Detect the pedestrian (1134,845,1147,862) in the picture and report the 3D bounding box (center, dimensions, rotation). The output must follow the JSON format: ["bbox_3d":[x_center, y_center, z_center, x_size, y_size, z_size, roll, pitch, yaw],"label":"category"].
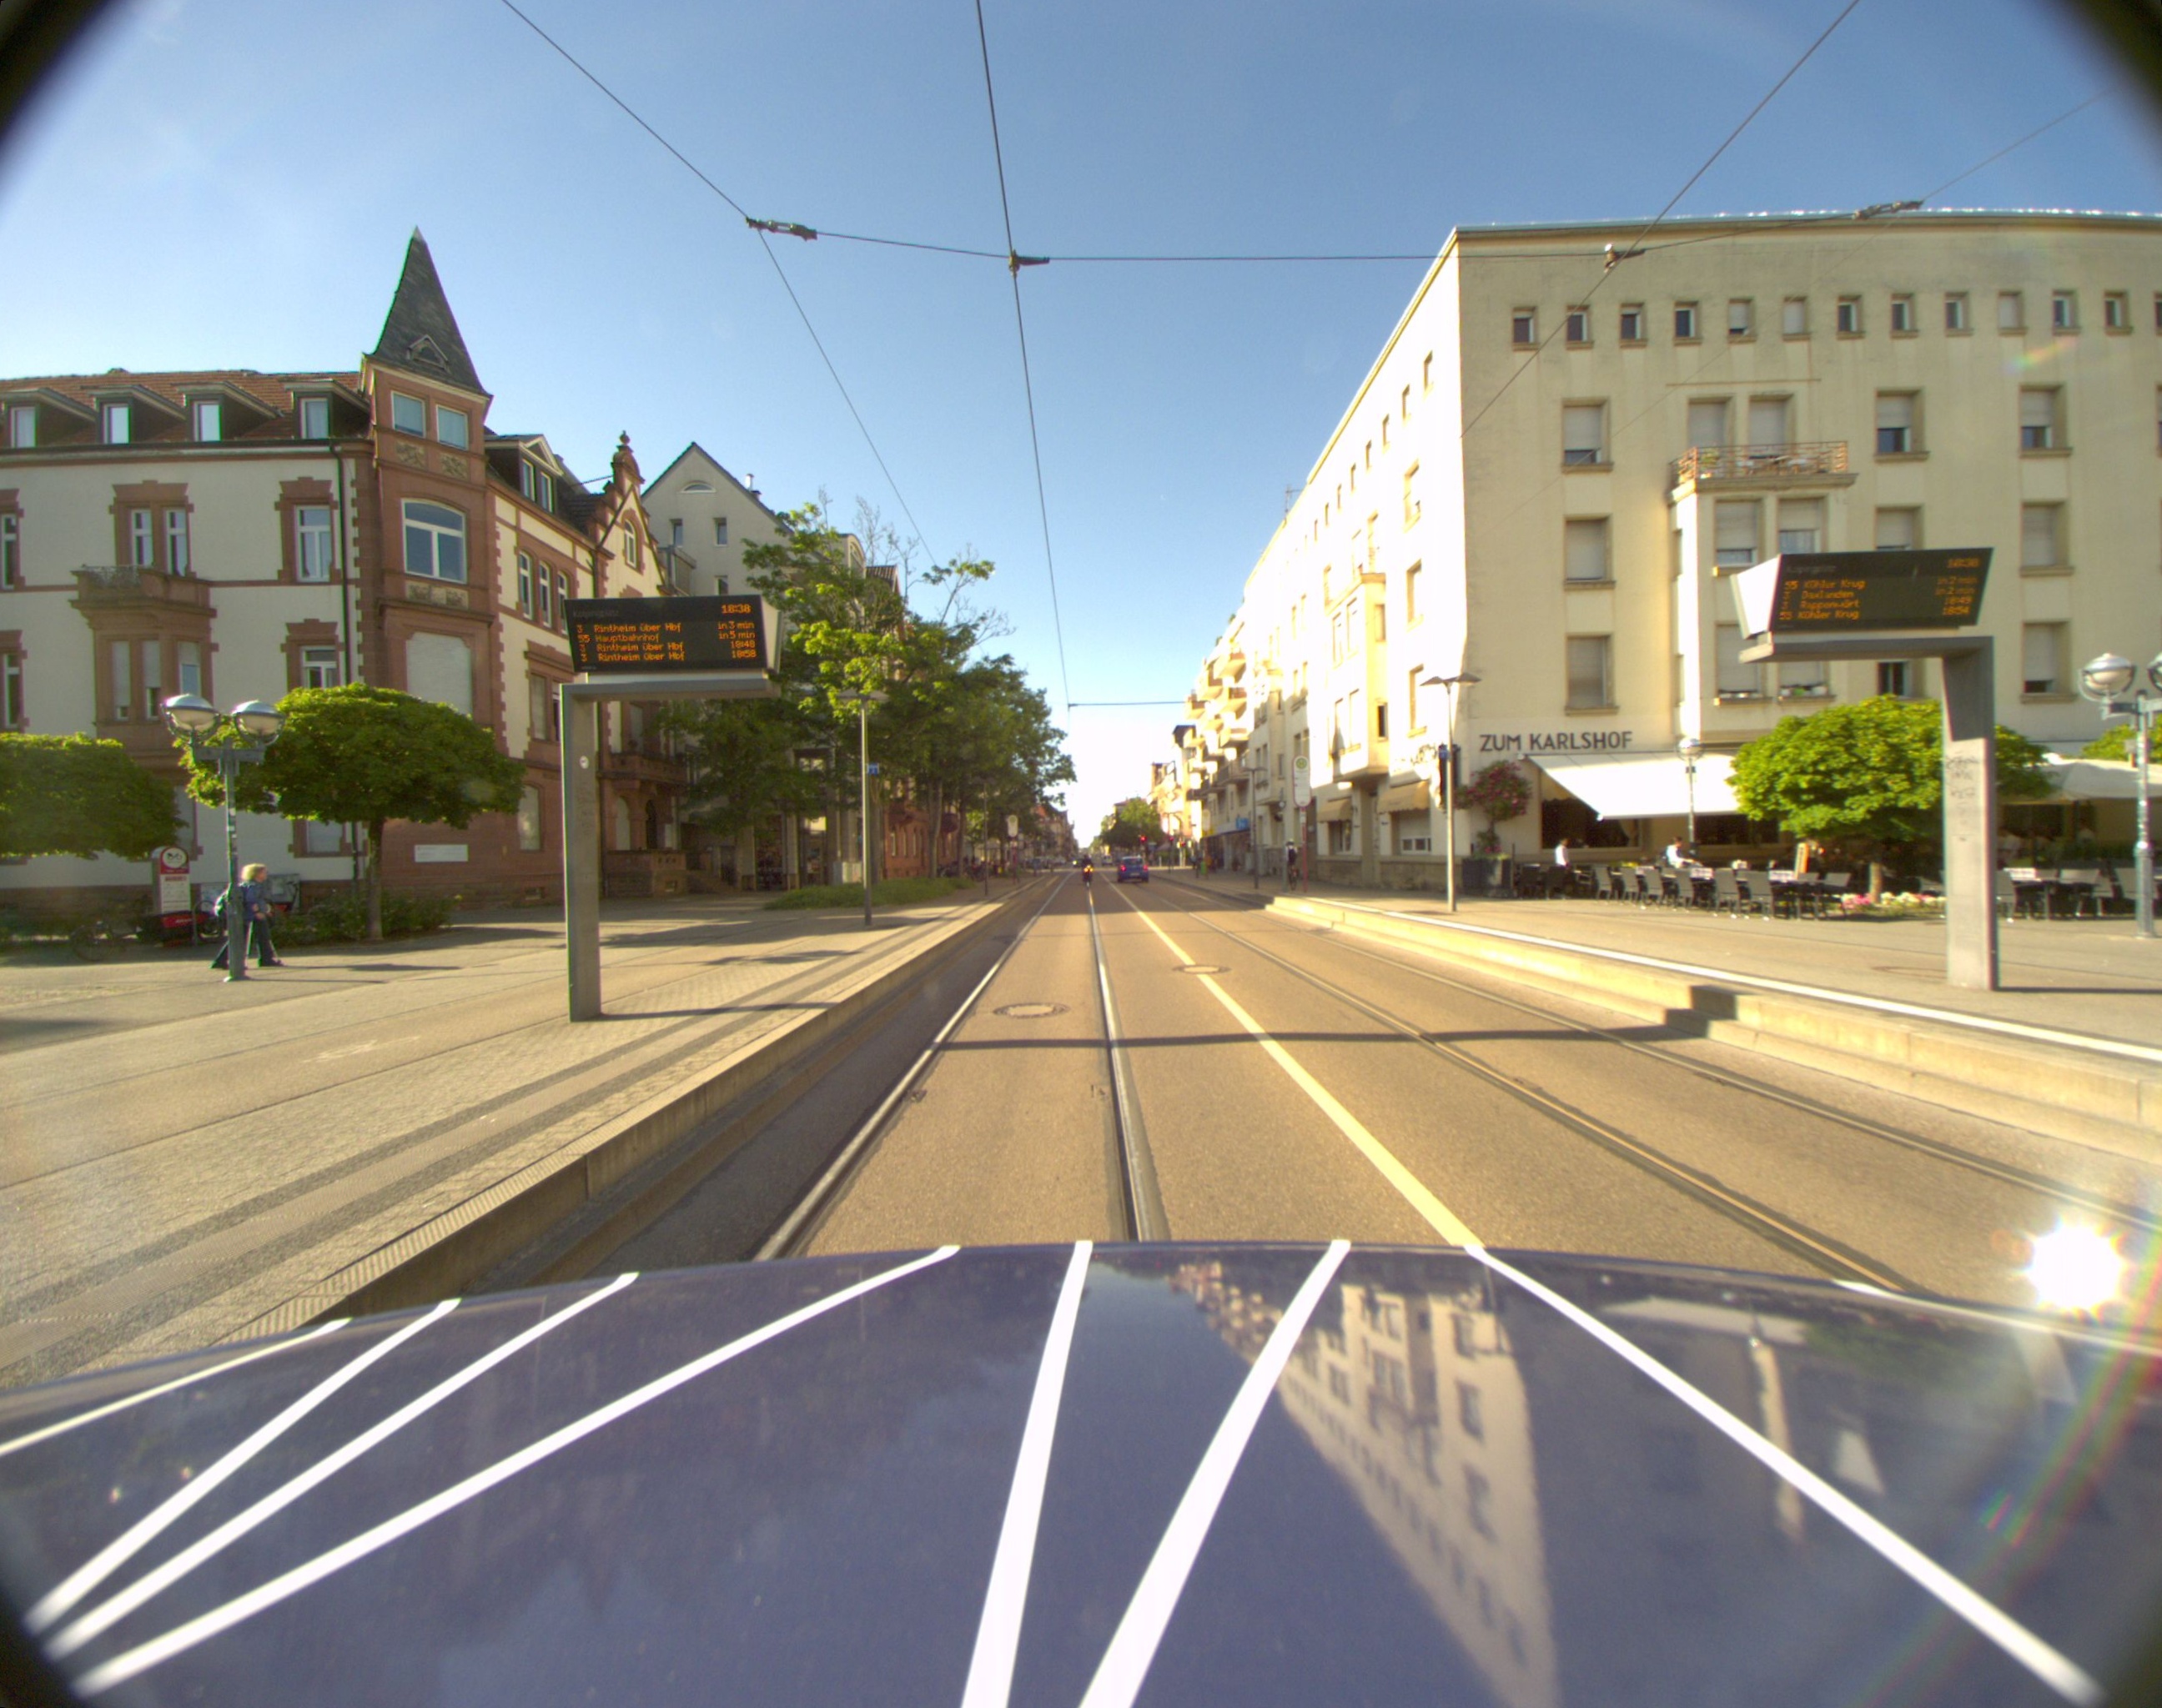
[{"bbox_3d":[7.394,-0.053,93.943,1.174,2.002,1.024,-1,1,42],"label":"pedestrian"}]

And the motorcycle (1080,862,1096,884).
[{"bbox_3d":[0.388,1.037,41.922,0.799,1.090,2.429,-1,0,1],"label":"motorcycle"}]

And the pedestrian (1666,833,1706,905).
[{"bbox_3d":[14.003,0.355,17.601,0.672,1.634,0.678,-2,-3,39],"label":"pedestrian"}]

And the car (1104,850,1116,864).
[{"bbox_3d":[4.686,0.472,122.250,1.877,2.105,4.000,-2,1,2],"label":"car"}]

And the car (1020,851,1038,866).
[{"bbox_3d":[-7.205,0.638,105.932,1.998,2.002,4.001,-1,0,4],"label":"car"}]

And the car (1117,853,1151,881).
[{"bbox_3d":[2.974,0.714,43.488,1.671,1.479,4.000,-2,0,1],"label":"car"}]

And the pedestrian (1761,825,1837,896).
[{"bbox_3d":[16.985,0.168,17.991,1.066,1.634,0.757,0,-2,-4],"label":"pedestrian"}]

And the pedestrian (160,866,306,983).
[{"bbox_3d":[-12.847,1.026,11.559,1.070,1.659,0.956,-2,1,-12],"label":"pedestrian"}]

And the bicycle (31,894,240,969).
[{"bbox_3d":[-18.151,1.427,14.745,0.790,1.062,2.804,-2,2,-8],"label":"bicycle"}]

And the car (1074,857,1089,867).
[{"bbox_3d":[0.071,1.132,107.631,1.998,1.318,3.863,-1,0,1],"label":"car"}]

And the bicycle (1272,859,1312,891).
[{"bbox_3d":[7.805,0.753,28.206,0.714,1.119,2.035,-1,0,-6],"label":"bicycle"}]

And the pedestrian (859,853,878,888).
[{"bbox_3d":[-10.606,0.818,37.951,0.742,1.725,0.877,-2,1,-6],"label":"pedestrian"}]

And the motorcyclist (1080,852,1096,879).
[{"bbox_3d":[0.376,0.606,41.892,0.821,1.466,1.114,-1,1,1],"label":"motorcyclist"}]

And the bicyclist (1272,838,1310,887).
[{"bbox_3d":[7.789,0.302,28.225,1.007,1.783,1.094,-2,1,-8],"label":"bicyclist"}]

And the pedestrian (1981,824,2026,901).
[{"bbox_3d":[22.217,0.196,18.294,0.578,1.813,0.647,-2,1,-36],"label":"pedestrian"}]

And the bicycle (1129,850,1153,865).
[{"bbox_3d":[7.443,0.405,93.951,3.113,1.719,1.225,-2,1,-44],"label":"bicycle"}]

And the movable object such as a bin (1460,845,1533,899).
[{"bbox_3d":[11.165,0.464,20.448,1.319,1.392,1.128,-1,1,-1],"label":"movable object such as a bin"}]

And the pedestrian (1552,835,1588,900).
[{"bbox_3d":[12.629,0.367,19.653,0.672,1.634,0.752,-1,-2,27],"label":"pedestrian"}]

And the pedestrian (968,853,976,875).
[{"bbox_3d":[-9.944,0.938,69.309,0.653,2.002,0.559,-1,1,3],"label":"pedestrian"}]
